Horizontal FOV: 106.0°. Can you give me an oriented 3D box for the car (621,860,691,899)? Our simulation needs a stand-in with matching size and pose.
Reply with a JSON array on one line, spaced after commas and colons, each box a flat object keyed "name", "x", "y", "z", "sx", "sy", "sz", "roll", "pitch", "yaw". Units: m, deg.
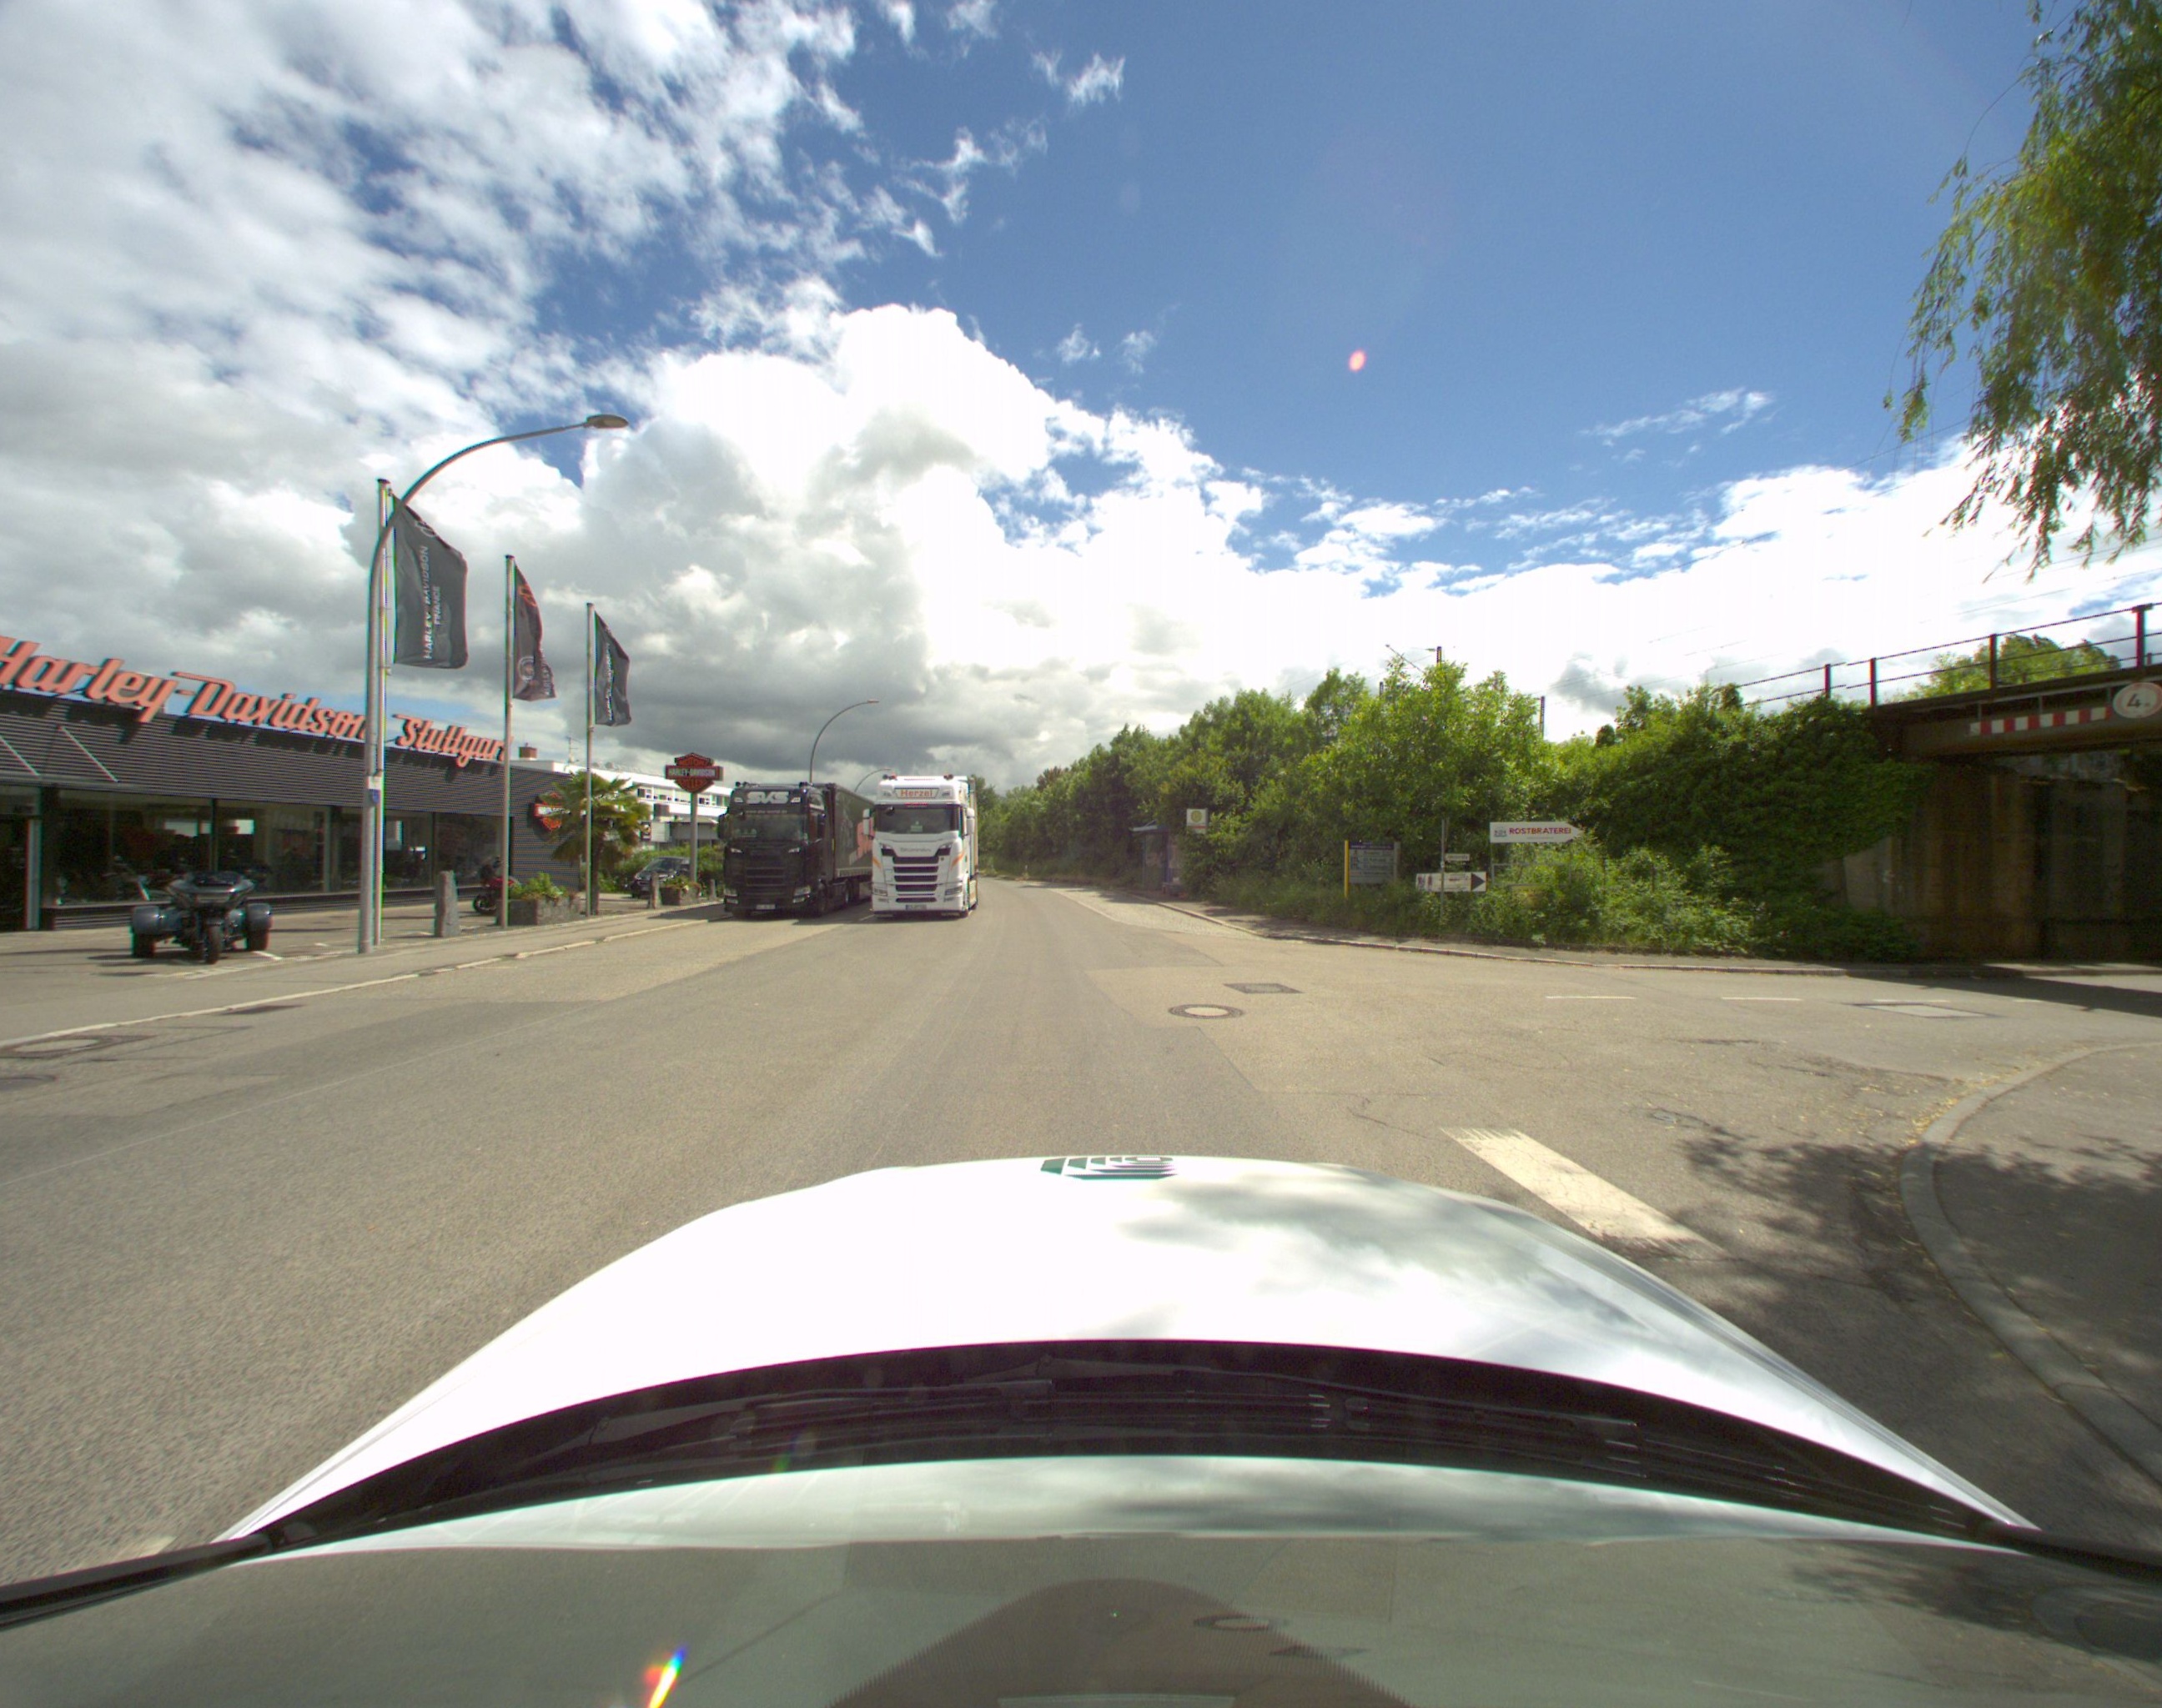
[{"name": "car", "x": -15.500, "y": 0.906, "z": 29.797, "sx": 1.040, "sy": 1.364, "sz": 2.688, "roll": 1, "pitch": -1, "yaw": 2}]

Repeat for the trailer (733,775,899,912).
[{"name": "trailer", "x": -9.568, "y": -0.215, "z": 31.924, "sx": 2.795, "sy": 4.053, "sz": 15.524, "roll": 1, "pitch": -1, "yaw": -5}]

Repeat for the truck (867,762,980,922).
[{"name": "truck", "x": -4.384, "y": -0.272, "z": 23.680, "sx": 2.768, "sy": 4.119, "sz": 4.975, "roll": 1, "pitch": -1, "yaw": -7}]

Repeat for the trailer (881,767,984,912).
[{"name": "trailer", "x": -5.176, "y": -0.317, "z": 31.144, "sx": 2.768, "sy": 4.145, "sz": 15.315, "roll": 1, "pitch": -1, "yaw": -6}]

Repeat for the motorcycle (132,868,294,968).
[{"name": "motorcycle", "x": -12.857, "y": 0.867, "z": 12.041, "sx": 2.421, "sy": 1.292, "sz": 1.475, "roll": 0, "pitch": -1, "yaw": 40}]

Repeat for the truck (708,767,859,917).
[{"name": "truck", "x": -8.967, "y": -0.287, "z": 25.410, "sx": 2.795, "sy": 4.053, "sz": 6.488, "roll": 1, "pitch": -1, "yaw": -6}]

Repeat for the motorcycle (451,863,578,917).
[{"name": "motorcycle", "x": -14.304, "y": 0.906, "z": 20.613, "sx": 2.554, "sy": 1.306, "sz": 0.848, "roll": 1, "pitch": -1, "yaw": 0}]
